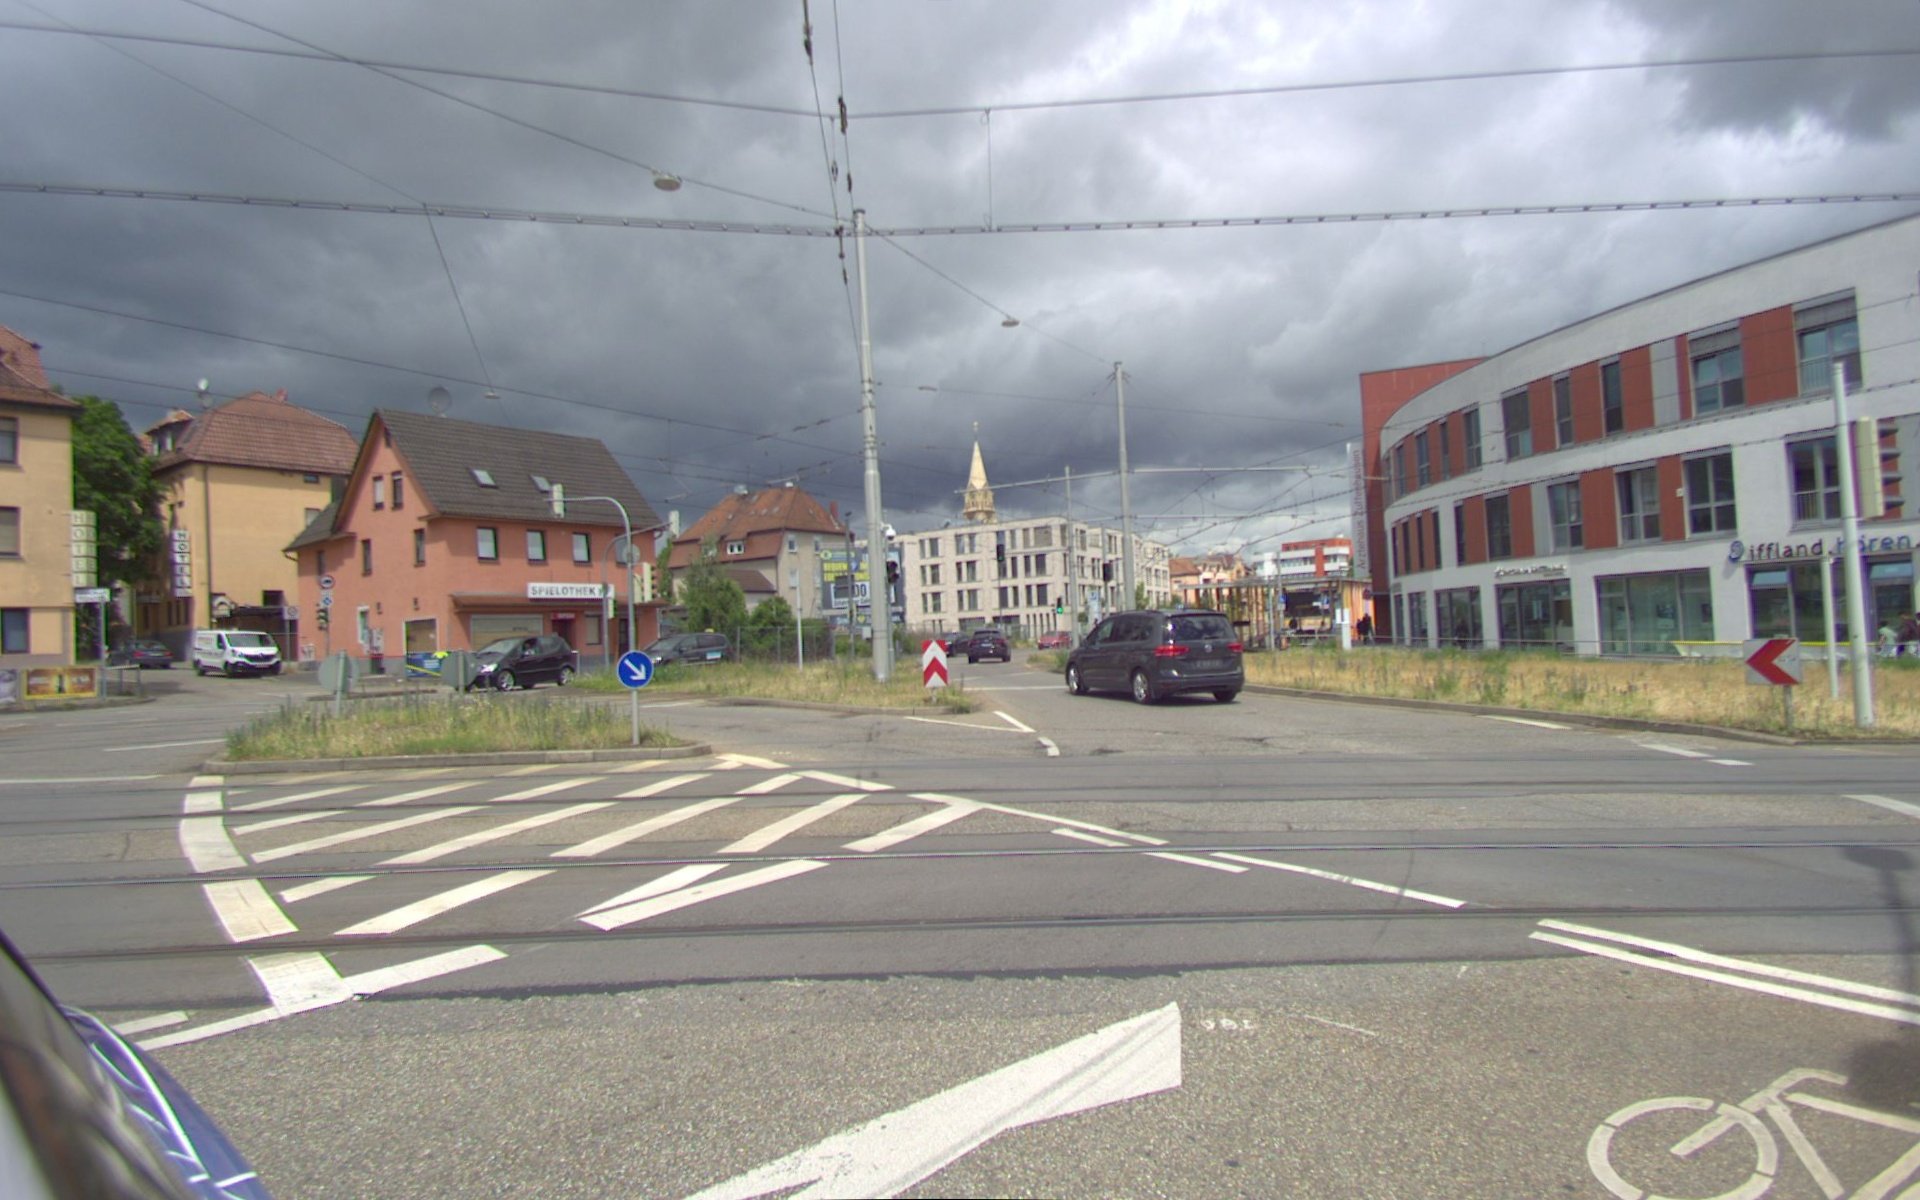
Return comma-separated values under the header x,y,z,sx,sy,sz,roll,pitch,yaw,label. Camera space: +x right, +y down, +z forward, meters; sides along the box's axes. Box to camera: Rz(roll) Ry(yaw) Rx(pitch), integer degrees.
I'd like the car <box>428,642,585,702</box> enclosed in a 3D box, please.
x,y,z,sx,sy,sz,roll,pitch,yaw,label
-13.015,2.035,29.293,1.870,1.439,3.971,-4,-2,21,car

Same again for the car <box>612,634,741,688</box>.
x,y,z,sx,sy,sz,roll,pitch,yaw,label
-9.978,2.120,36.006,1.989,1.662,4.381,-4,-2,26,car

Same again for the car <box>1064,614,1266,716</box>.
x,y,z,sx,sy,sz,roll,pitch,yaw,label
3.526,1.077,18.312,1.780,1.592,4.309,-1,-1,-16,car

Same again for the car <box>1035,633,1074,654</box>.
x,y,z,sx,sy,sz,roll,pitch,yaw,label
7.681,3.508,82.209,1.987,1.469,3.969,-4,-2,23,car

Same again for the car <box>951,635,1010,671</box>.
x,y,z,sx,sy,sz,roll,pitch,yaw,label
0.915,2.511,48.271,1.922,1.581,4.497,1,-3,-11,car

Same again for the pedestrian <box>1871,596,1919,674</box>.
x,y,z,sx,sy,sz,roll,pitch,yaw,label
25.414,0.924,27.117,1.236,2.029,1.143,0,-2,-32,pedestrian

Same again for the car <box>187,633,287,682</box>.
x,y,z,sx,sy,sz,roll,pitch,yaw,label
-30.929,2.467,43.258,4.651,1.912,2.057,-3,-1,35,car

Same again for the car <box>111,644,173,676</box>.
x,y,z,sx,sy,sz,roll,pitch,yaw,label
-40.060,2.936,49.564,3.125,1.381,1.544,-5,-3,35,car
